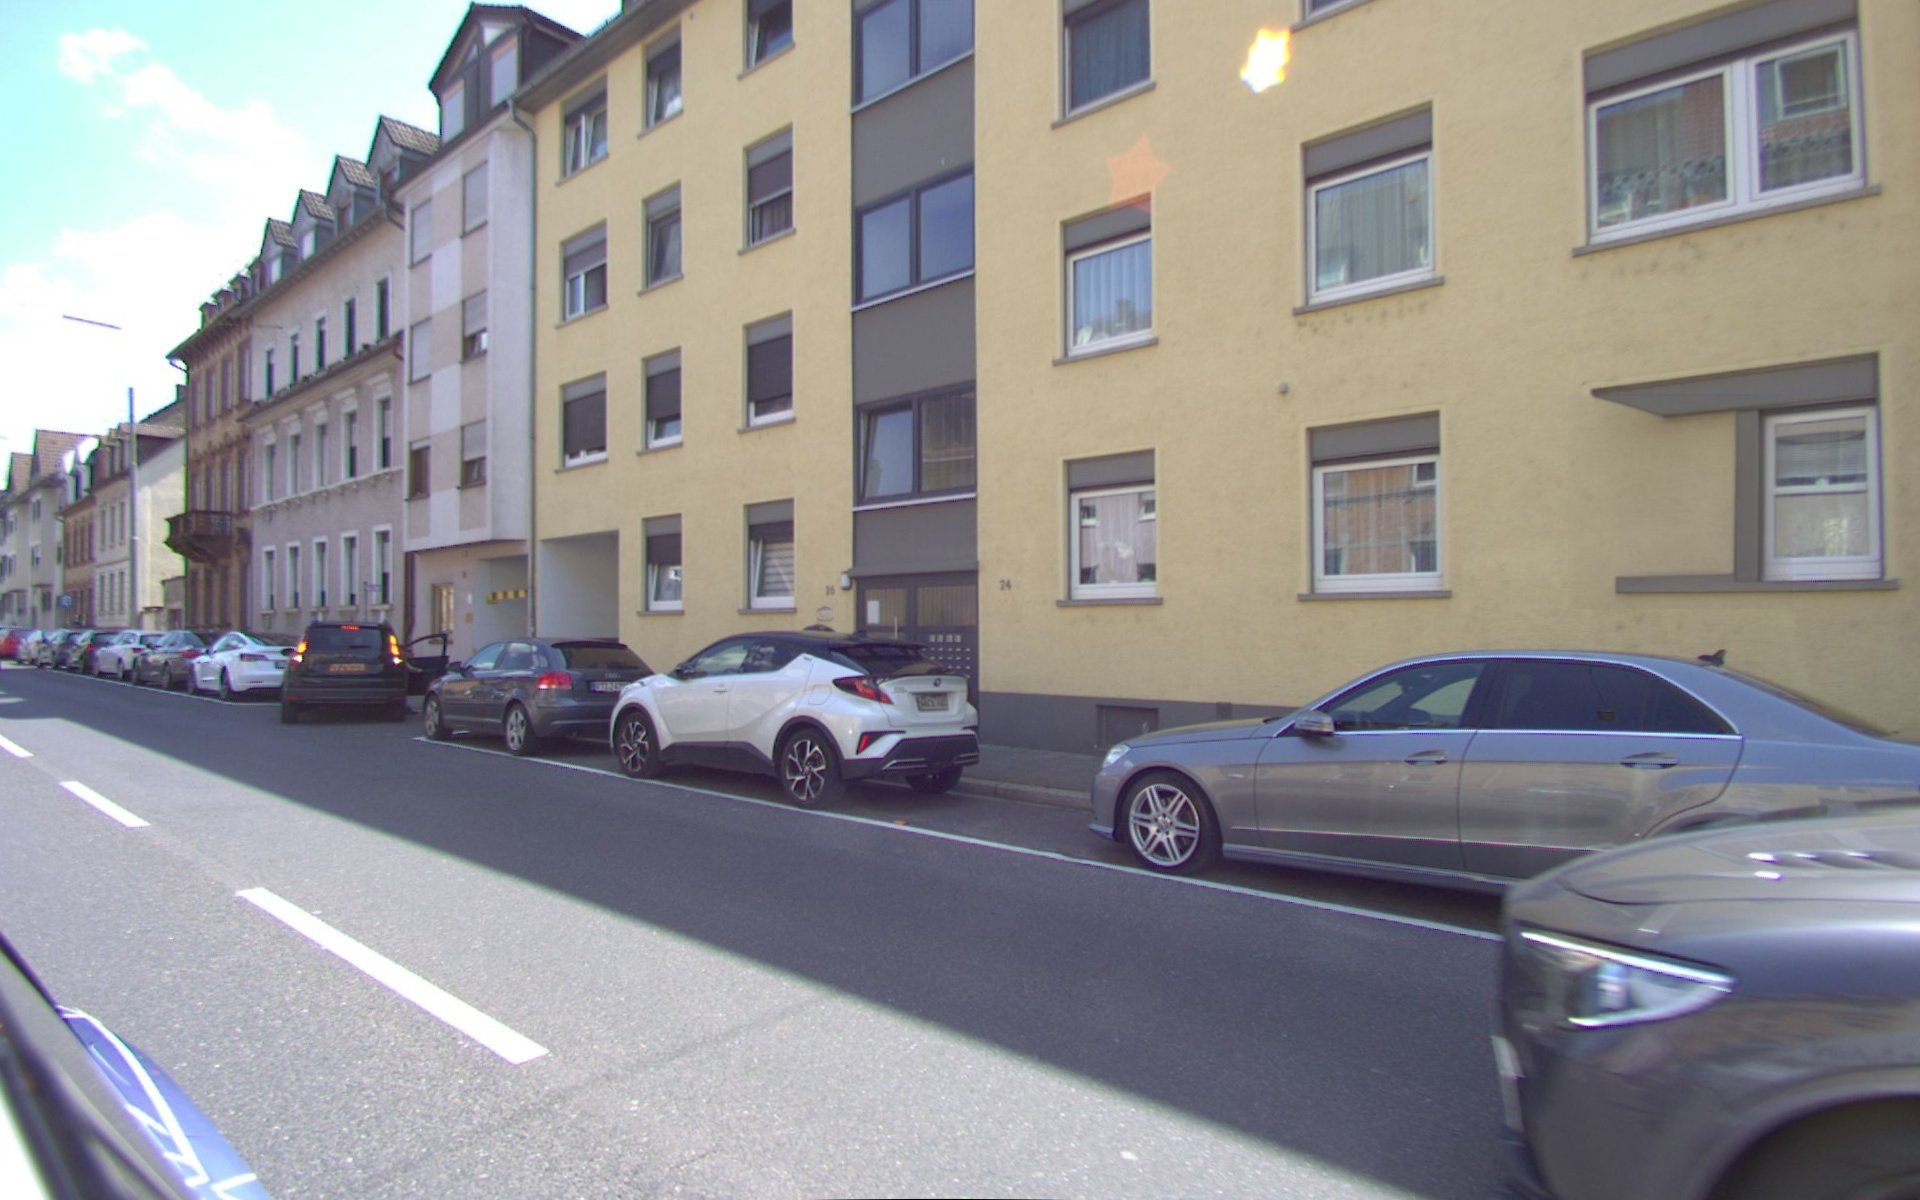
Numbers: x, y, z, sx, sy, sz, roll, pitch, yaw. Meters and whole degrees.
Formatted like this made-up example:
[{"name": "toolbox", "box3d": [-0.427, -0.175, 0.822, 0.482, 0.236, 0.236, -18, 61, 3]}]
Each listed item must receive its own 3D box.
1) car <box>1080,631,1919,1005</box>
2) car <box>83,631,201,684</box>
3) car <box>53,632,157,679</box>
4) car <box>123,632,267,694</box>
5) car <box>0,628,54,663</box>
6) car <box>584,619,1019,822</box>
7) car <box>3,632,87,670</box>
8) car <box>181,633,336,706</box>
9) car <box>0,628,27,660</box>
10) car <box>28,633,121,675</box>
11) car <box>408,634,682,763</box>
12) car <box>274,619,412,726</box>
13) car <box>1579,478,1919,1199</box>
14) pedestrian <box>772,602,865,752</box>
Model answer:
[{"name": "car", "box3d": [3.166, 0.960, 5.787, 4.684, 1.463, 1.885, -2, -5, 41]}, {"name": "car", "box3d": [-23.888, 1.674, 29.520, 4.098, 1.422, 1.728, -1, -5, 38]}, {"name": "car", "box3d": [-28.099, 1.816, 33.232, 4.098, 1.422, 1.728, -1, -5, 38]}, {"name": "car", "box3d": [-19.162, 1.553, 25.280, 4.507, 1.422, 1.727, -1, -5, 38]}, {"name": "car", "box3d": [-41.644, 2.007, 44.699, 4.098, 1.422, 1.644, -1, -5, 38]}, {"name": "car", "box3d": [-1.702, 1.047, 9.958, 4.311, 1.563, 1.845, -2, -5, 41]}, {"name": "car", "box3d": [-36.635, 2.034, 40.493, 4.098, 1.422, 1.728, -1, -5, 38]}, {"name": "car", "box3d": [-15.097, 1.459, 21.710, 4.283, 1.422, 1.726, -2, -5, 42]}, {"name": "car", "box3d": [-46.037, 2.067, 48.180, 4.098, 1.422, 1.644, -1, -5, 38]}, {"name": "car", "box3d": [-32.251, 1.962, 36.834, 4.098, 1.422, 1.728, -1, -5, 38]}, {"name": "car", "box3d": [-5.498, 1.200, 13.206, 3.914, 1.422, 1.726, -2, -5, 42]}, {"name": "car", "box3d": [-10.585, 1.222, 17.292, 1.721, 1.600, 3.963, 4, -5, -33]}, {"name": "car", "box3d": [3.356, 0.624, 0.989, 4.444, 1.623, 1.888, -2, -3, 41]}, {"name": "pedestrian", "box3d": [-1.754, 0.923, 12.541, 0.793, 1.769, 0.877, 1, -2, -41]}]
